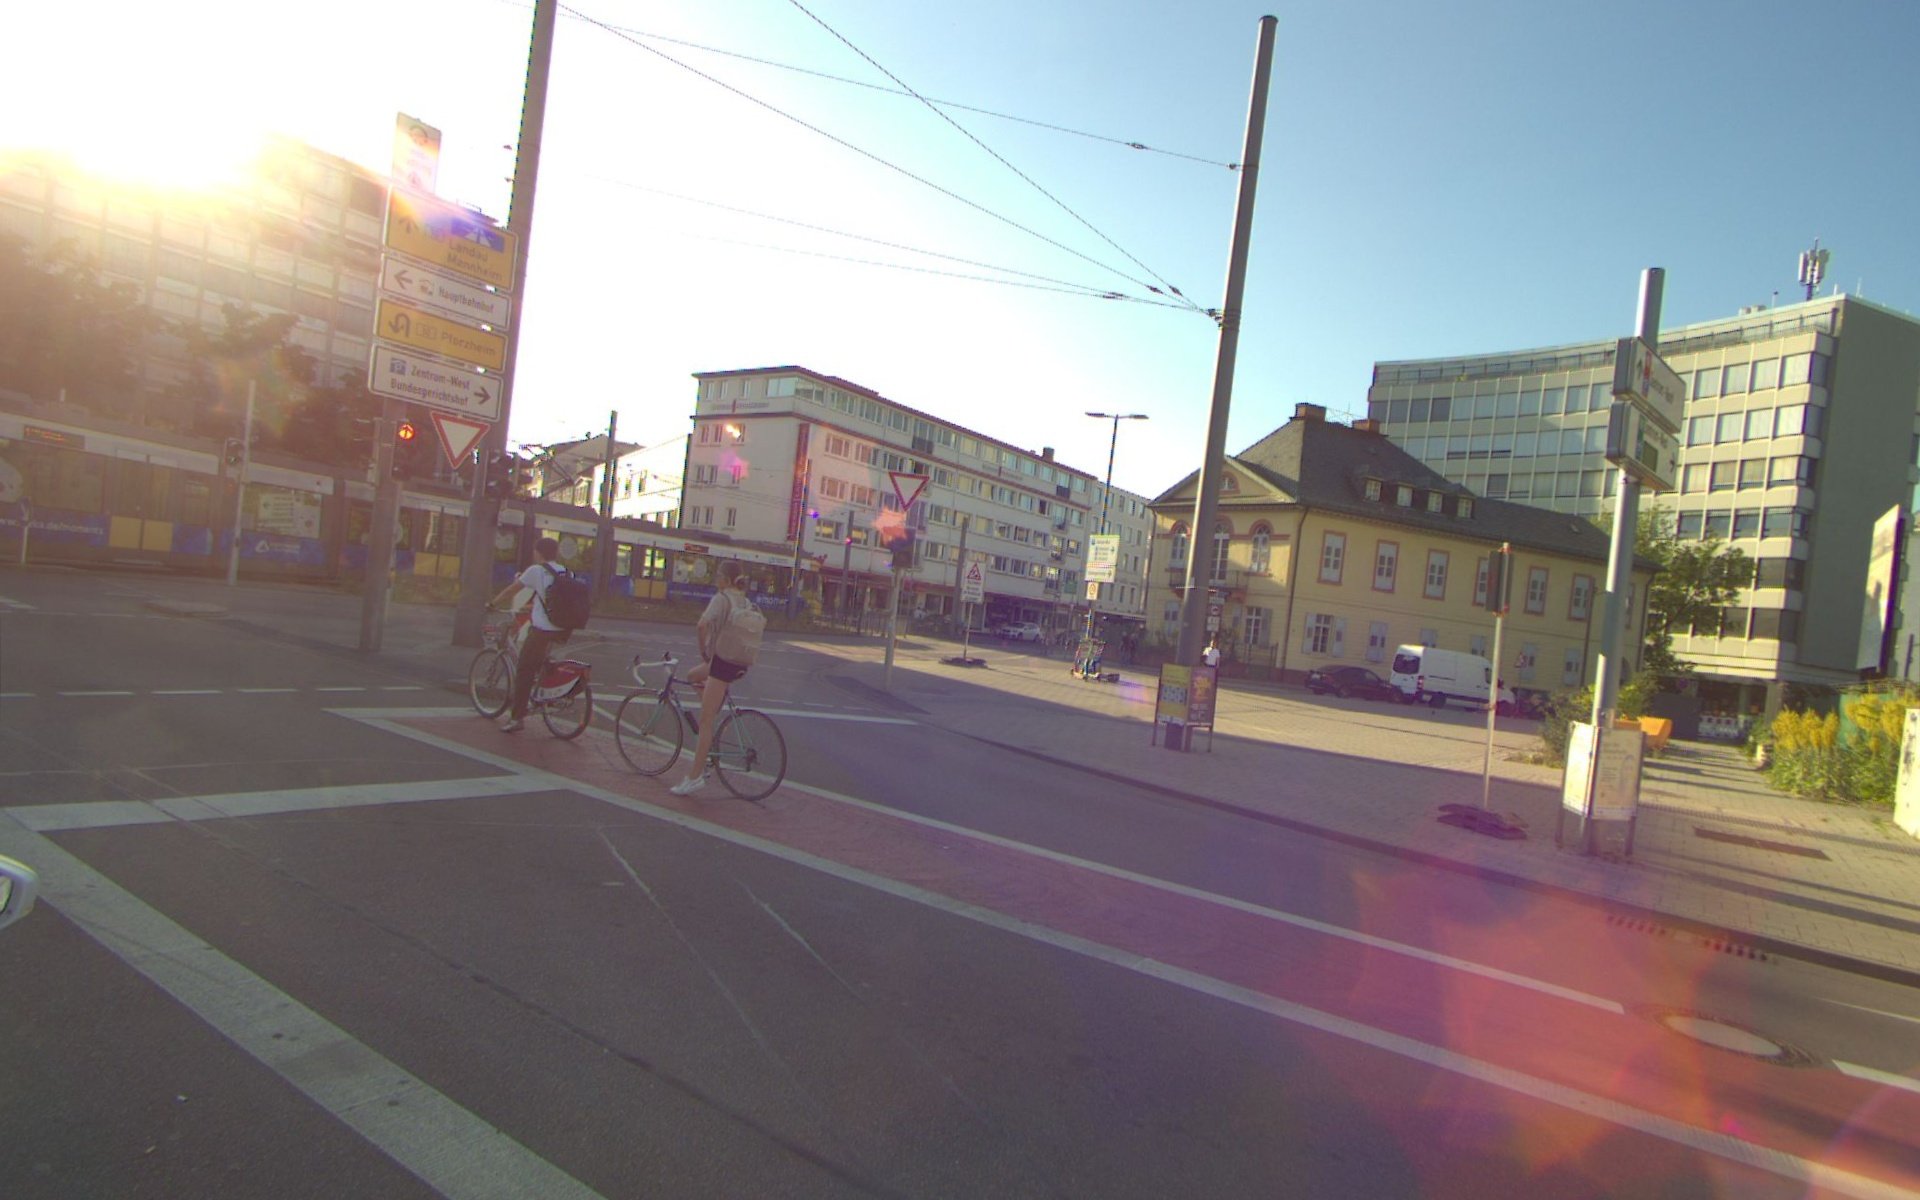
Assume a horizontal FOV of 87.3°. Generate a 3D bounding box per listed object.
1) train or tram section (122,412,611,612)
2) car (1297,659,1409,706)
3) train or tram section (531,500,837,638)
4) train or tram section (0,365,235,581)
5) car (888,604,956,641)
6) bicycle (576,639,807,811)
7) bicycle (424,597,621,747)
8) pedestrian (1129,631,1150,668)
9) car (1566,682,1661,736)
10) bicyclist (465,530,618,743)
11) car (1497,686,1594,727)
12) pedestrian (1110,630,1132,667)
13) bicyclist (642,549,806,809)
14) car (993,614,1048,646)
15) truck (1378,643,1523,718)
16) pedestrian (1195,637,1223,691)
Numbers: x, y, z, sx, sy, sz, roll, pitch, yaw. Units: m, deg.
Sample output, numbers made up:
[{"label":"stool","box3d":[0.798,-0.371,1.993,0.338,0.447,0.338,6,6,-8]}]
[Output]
[{"label":"train or tram section","box3d":[-17.204,-2.228,31.245,3.649,3.878,12.977,7,-2,25]},{"label":"car","box3d":[16.623,3.484,42.588,4.133,1.380,1.709,8,-2,-17]},{"label":"train or tram section","box3d":[-10.939,-1.004,42.354,3.656,3.877,12.958,6,-2,33]},{"label":"train or tram section","box3d":[-20.494,-2.801,18.335,3.645,3.880,13.368,6,-1,5]},{"label":"car","box3d":[-2.658,1.627,71.635,1.970,2.036,4.858,6,-2,38]},{"label":"bicycle","box3d":[-2.060,0.916,7.652,1.664,1.013,0.543,6,-1,27]},{"label":"bicycle","box3d":[-4.035,0.638,9.245,1.777,1.113,0.543,6,-1,27]},{"label":"pedestrian","box3d":[8.535,2.354,47.822,0.802,1.661,0.687,7,-1,10]},{"label":"car","box3d":[31.153,5.205,47.974,3.706,2.003,1.709,8,-2,-17]},{"label":"bicyclist","box3d":[-3.813,0.323,9.170,1.042,1.789,0.543,7,-1,27]},{"label":"car","box3d":[27.095,4.927,46.586,3.706,1.380,1.709,8,-2,-17]},{"label":"pedestrian","box3d":[7.596,2.291,47.420,0.802,1.661,0.687,7,-1,14]},{"label":"bicyclist","box3d":[-1.745,0.569,7.479,0.778,1.766,0.615,7,-1,27]},{"label":"car","box3d":[5.039,2.509,83.385,1.970,2.036,4.858,6,-2,38]},{"label":"truck","box3d":[21.834,3.577,44.803,5.556,2.578,2.294,8,-2,-17]},{"label":"pedestrian","box3d":[8.742,2.256,35.297,0.746,1.783,1.009,7,-1,16]}]
